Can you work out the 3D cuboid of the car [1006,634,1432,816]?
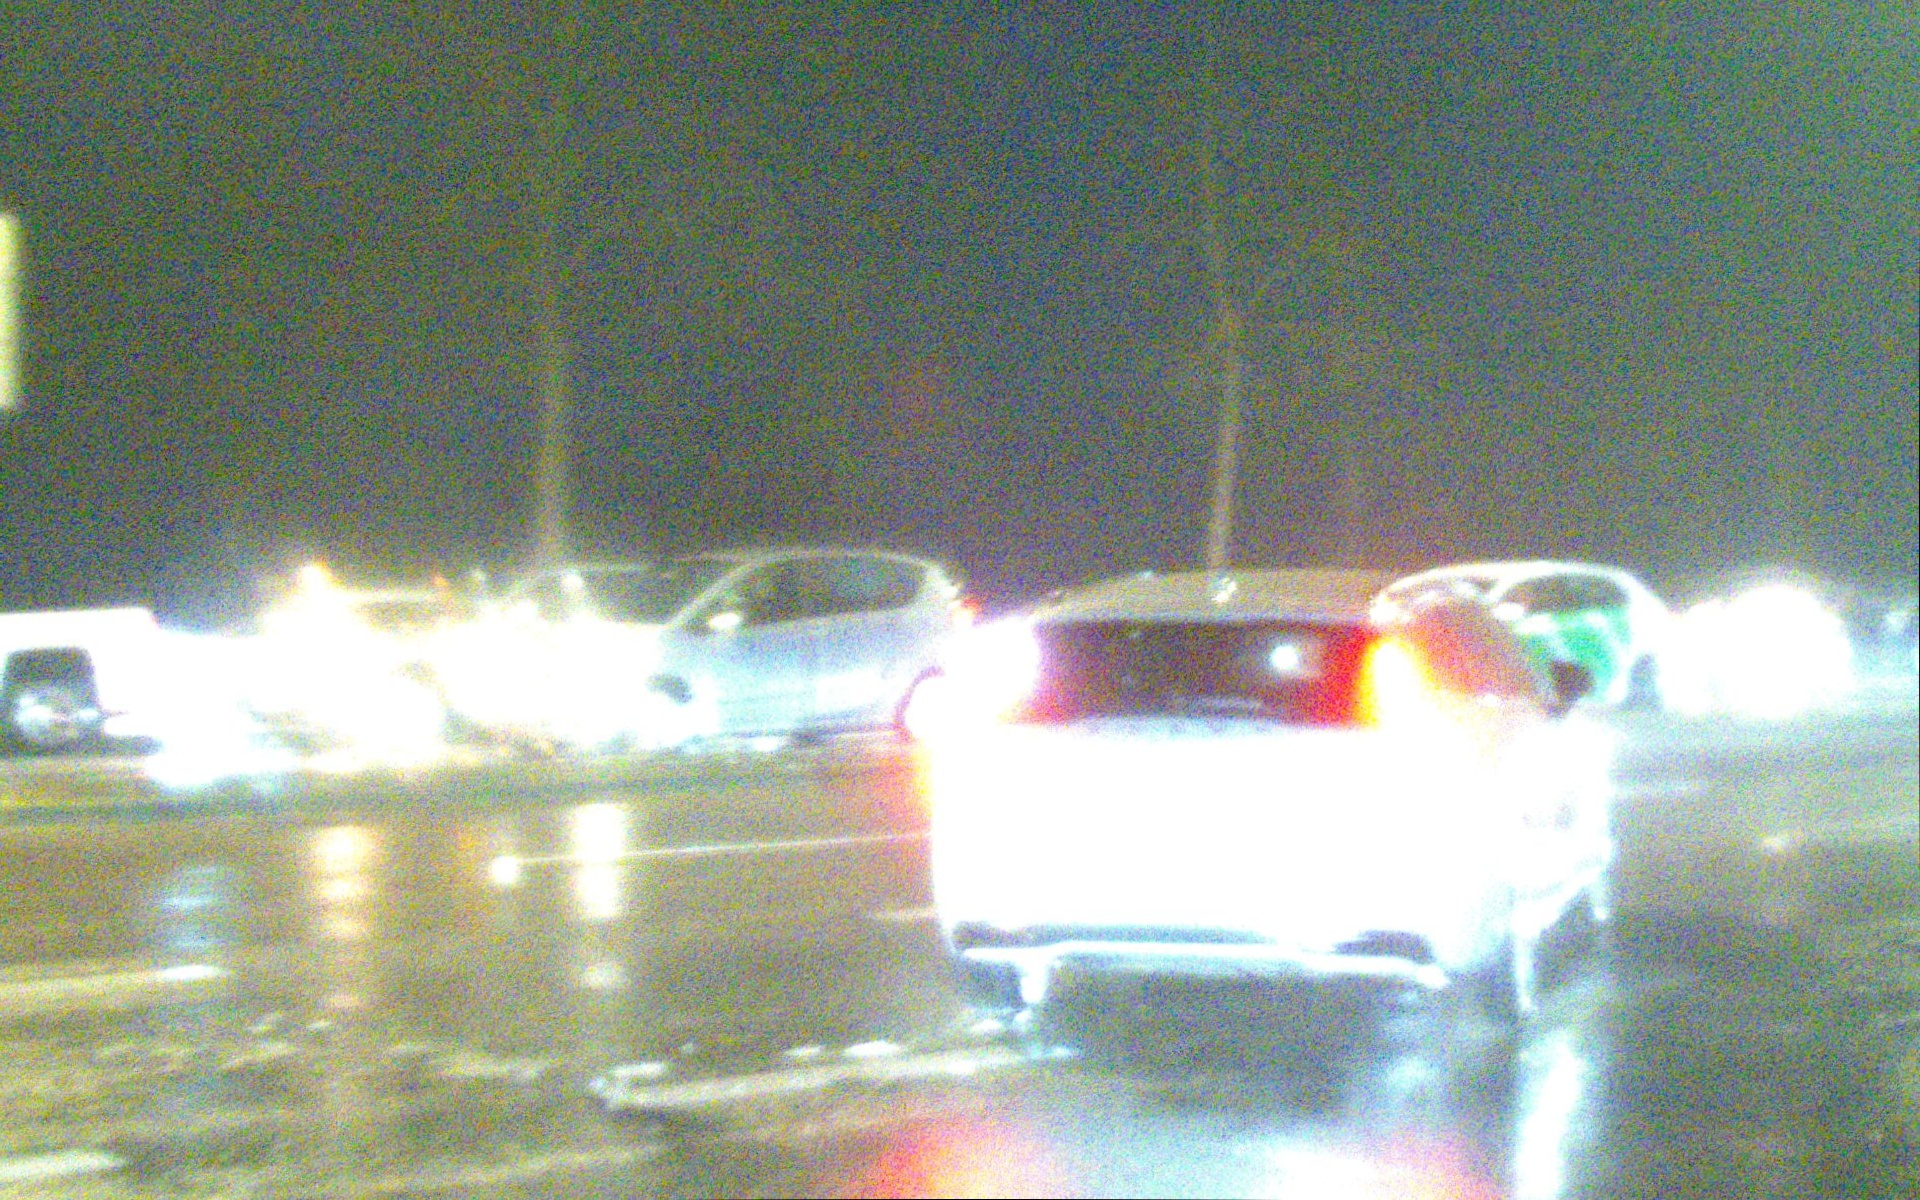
[{"bbox_3d":[2.564,1.196,33.575,3.965,1.660,1.804,1,-1,-39],"label":"car"}]

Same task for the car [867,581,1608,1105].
[{"bbox_3d":[1.166,0.675,12.017,1.798,1.447,4.265,1,1,15],"label":"car"}]

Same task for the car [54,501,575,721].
[{"bbox_3d":[-5.830,0.120,31.291,4.271,1.842,1.765,2,0,-39],"label":"car"}]

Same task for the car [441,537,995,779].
[{"bbox_3d":[-1.810,0.384,26.268,3.889,1.719,1.765,-1,1,-37],"label":"car"}]

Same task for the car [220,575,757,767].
[{"bbox_3d":[-3.863,0.589,28.424,4.045,1.482,1.718,1,-1,-35],"label":"car"}]

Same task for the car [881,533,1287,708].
[{"bbox_3d":[1.384,0.248,37.290,4.237,1.793,1.804,1,-1,-39],"label":"car"}]

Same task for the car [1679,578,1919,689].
[{"bbox_3d":[11.411,0.406,44.948,4.028,1.372,1.765,-1,0,-39],"label":"car"}]

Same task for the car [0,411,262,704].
[{"bbox_3d":[-9.830,-0.455,33.057,5.590,2.701,2.256,2,0,-30],"label":"car"}]

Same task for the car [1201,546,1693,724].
[{"bbox_3d":[4.401,0.273,30.752,4.399,1.479,1.782,-1,0,-38],"label":"car"}]
